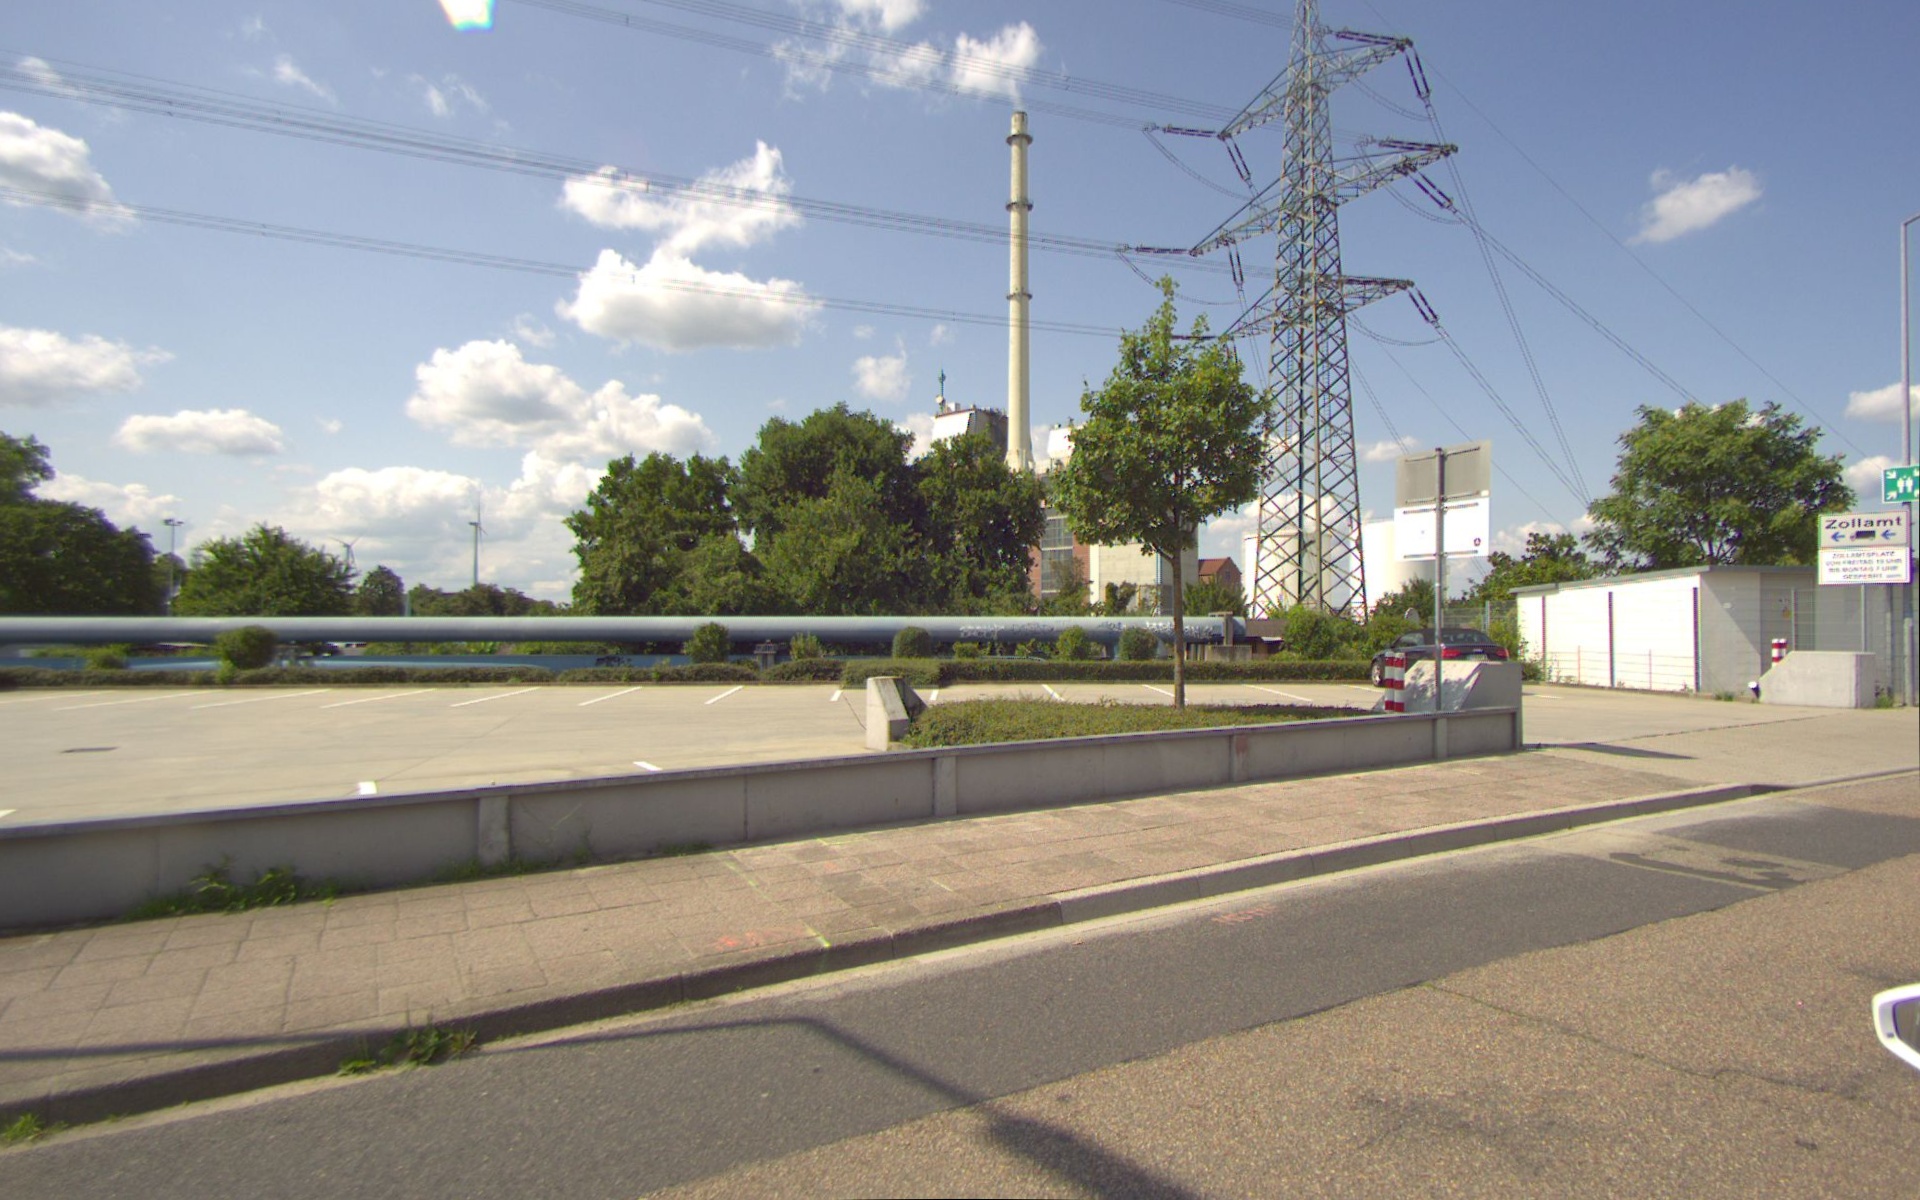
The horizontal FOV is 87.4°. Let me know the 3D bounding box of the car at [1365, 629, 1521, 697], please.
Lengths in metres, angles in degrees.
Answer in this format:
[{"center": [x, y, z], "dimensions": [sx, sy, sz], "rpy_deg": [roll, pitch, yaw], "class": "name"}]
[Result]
[{"center": [10.784, 1.359, 22.761], "dimensions": [1.767, 1.396, 4.002], "rpy_deg": [0, -2, 3], "class": "car"}]
